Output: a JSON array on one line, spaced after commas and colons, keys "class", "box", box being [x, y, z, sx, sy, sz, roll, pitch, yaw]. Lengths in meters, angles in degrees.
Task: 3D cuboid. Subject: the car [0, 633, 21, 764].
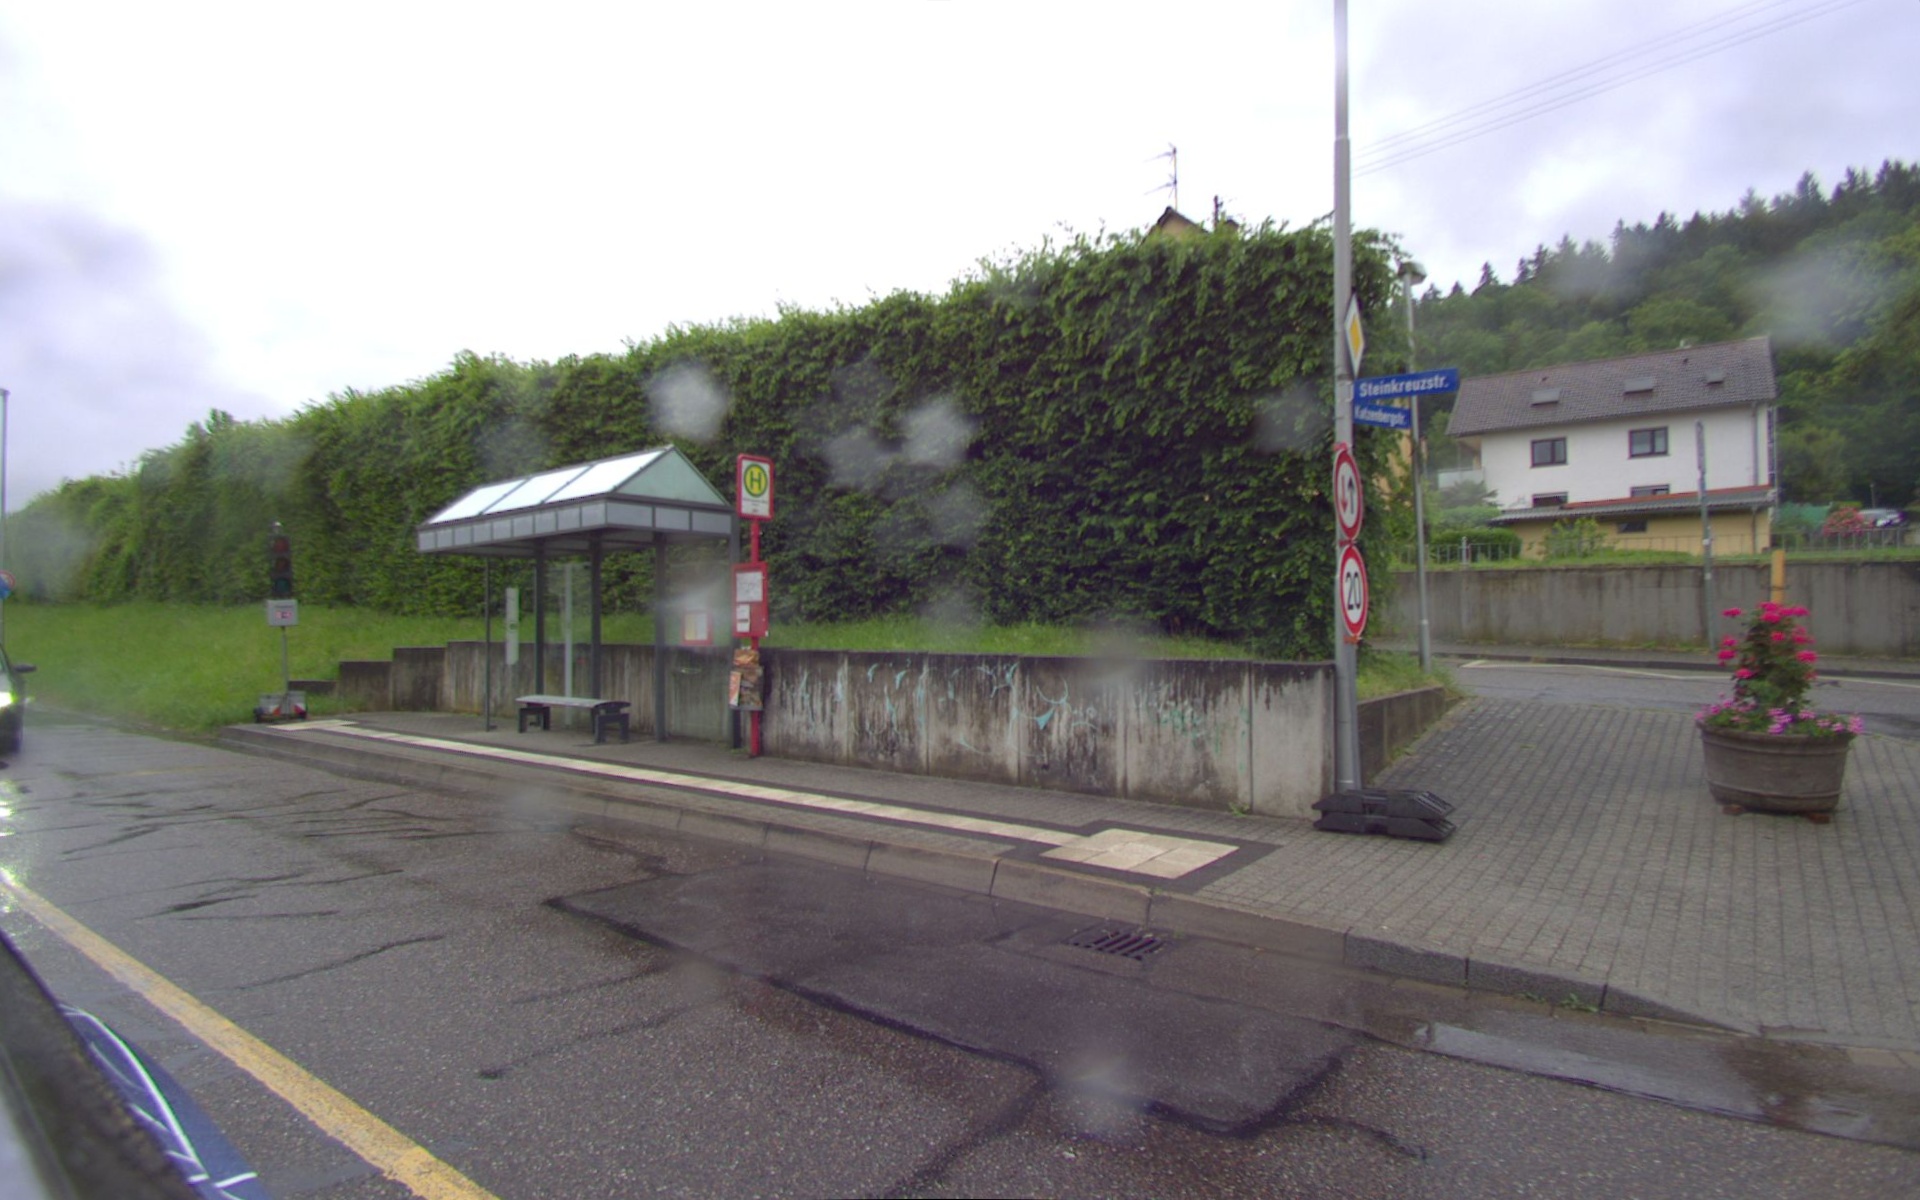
[{"class": "car", "box": [-13.040, 1.148, 12.662, 1.825, 1.463, 4.536, 3, -3, -43]}]
